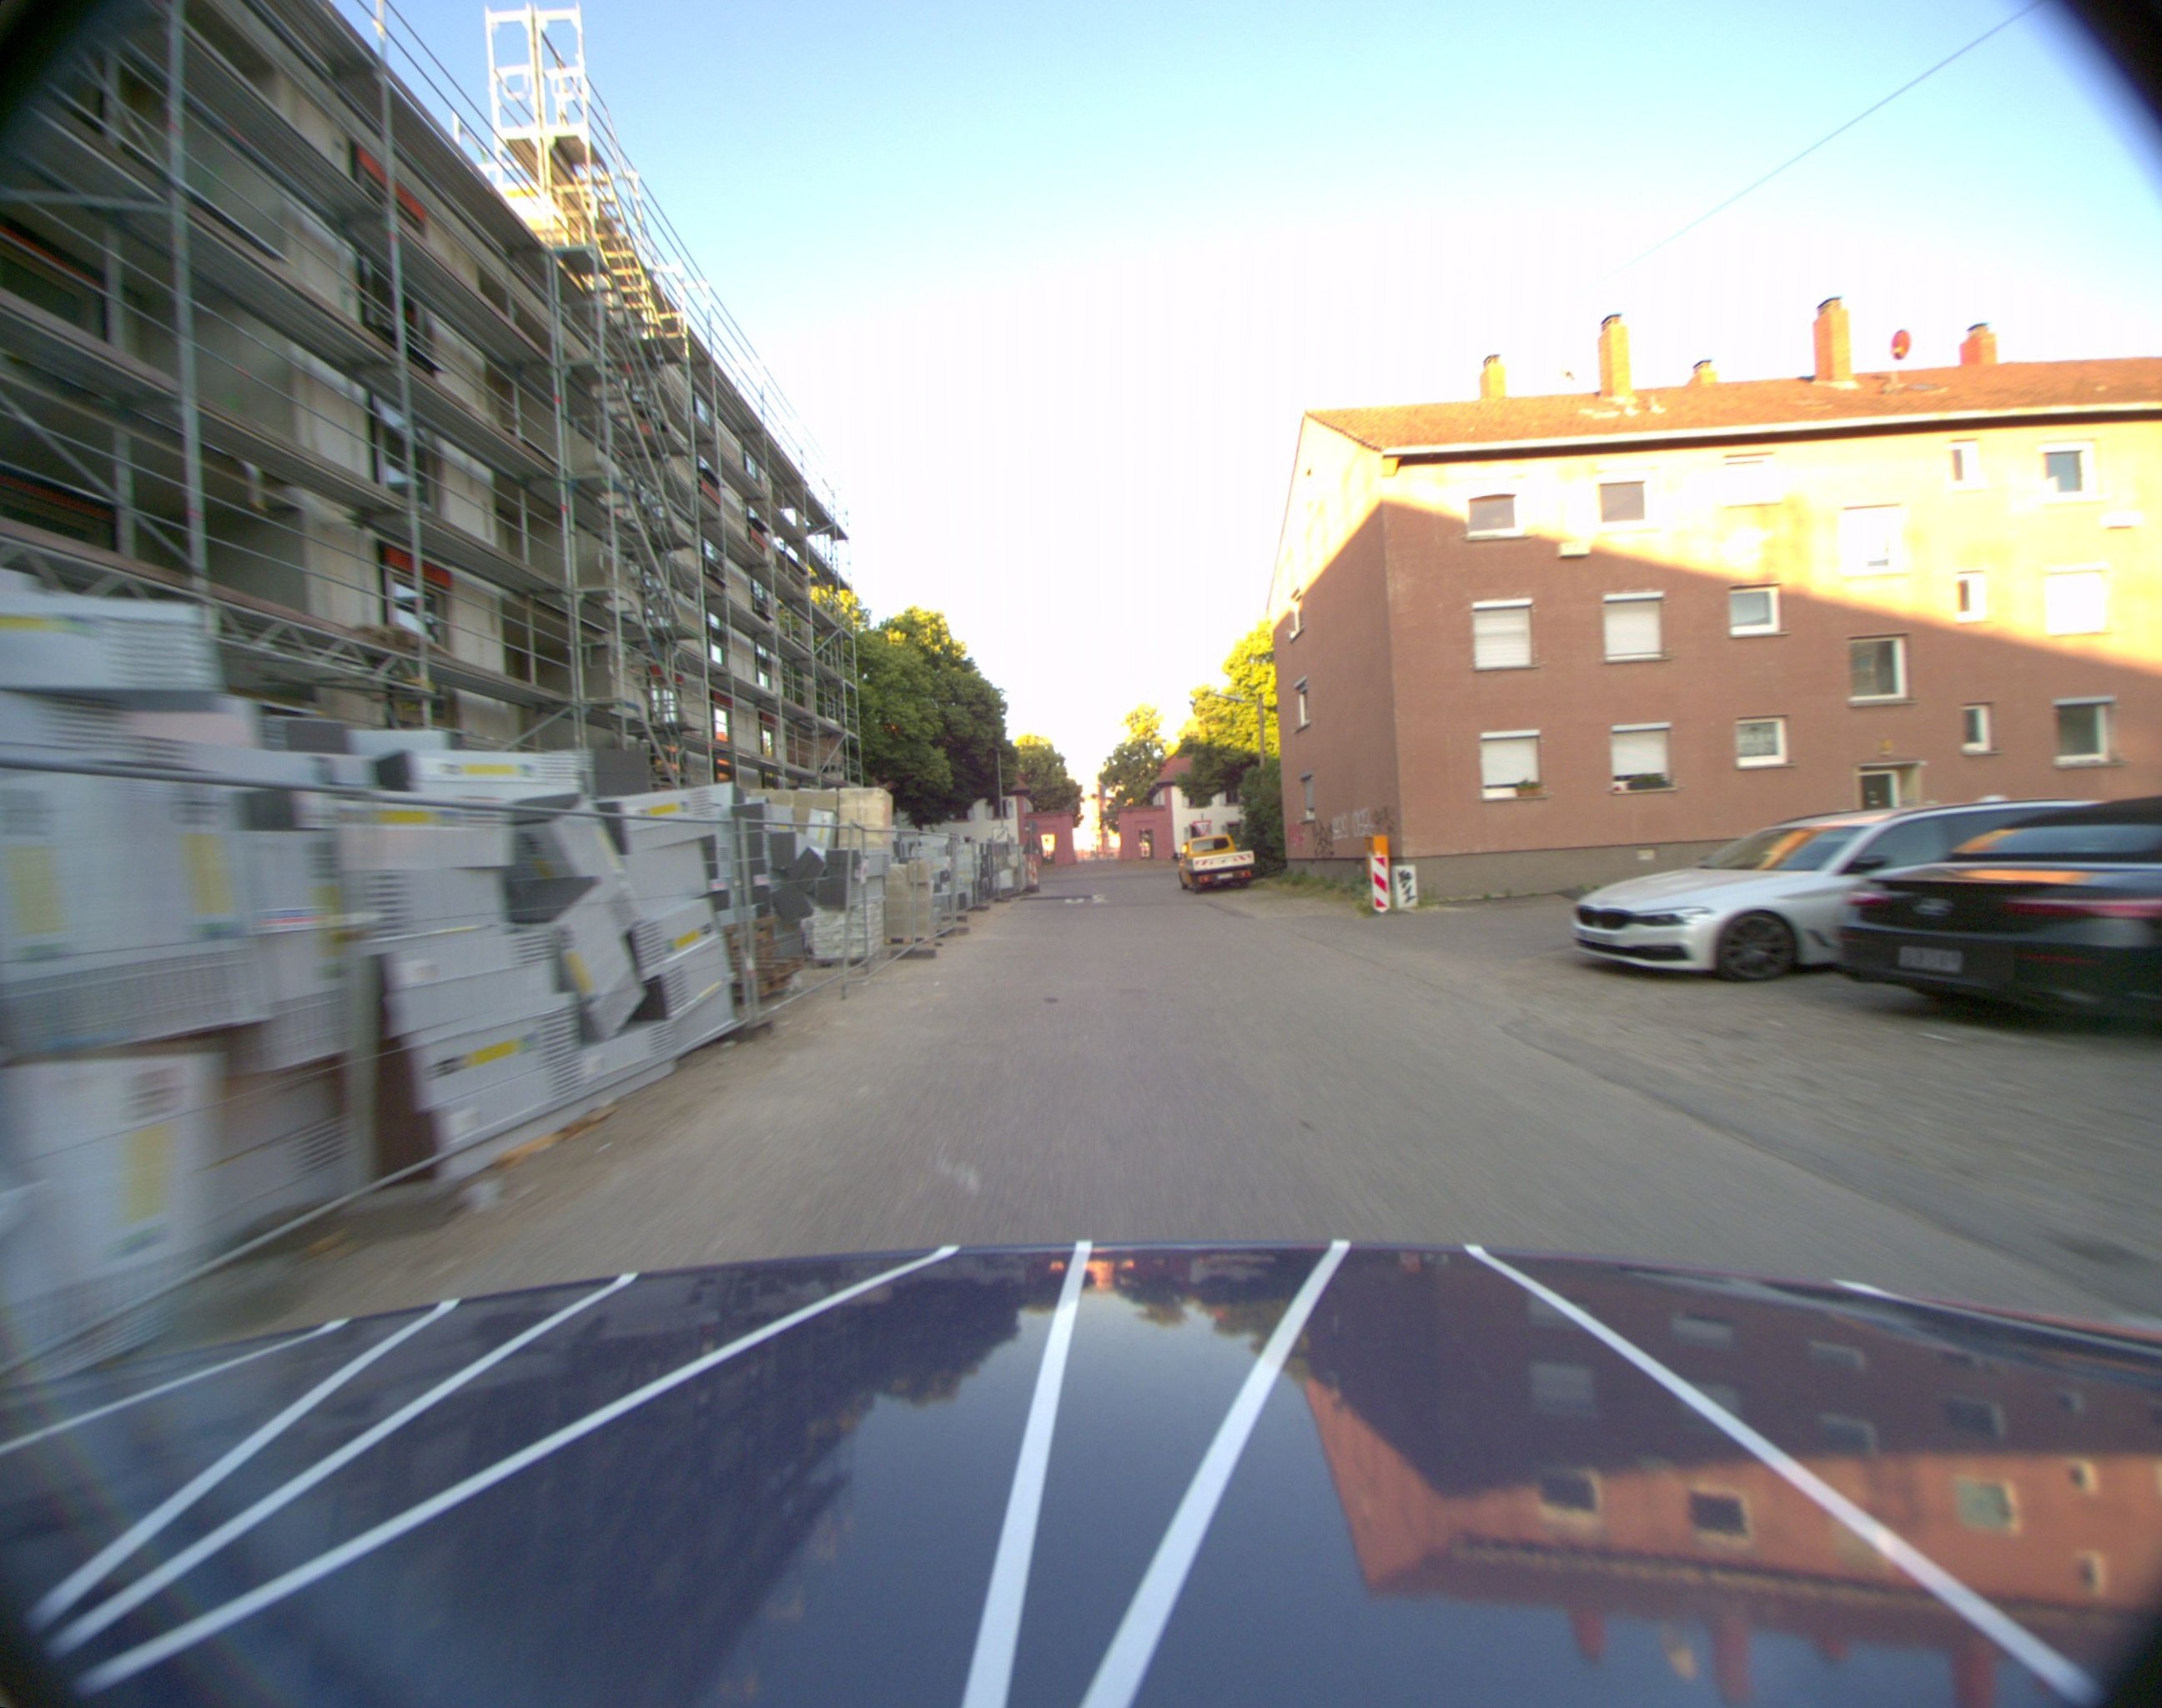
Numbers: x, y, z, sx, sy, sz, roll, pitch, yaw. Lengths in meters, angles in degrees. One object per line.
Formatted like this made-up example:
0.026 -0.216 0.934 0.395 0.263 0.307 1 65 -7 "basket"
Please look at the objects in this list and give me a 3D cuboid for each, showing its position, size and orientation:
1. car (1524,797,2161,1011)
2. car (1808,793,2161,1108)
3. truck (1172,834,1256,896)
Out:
7.667 0.417 7.775 5.007 1.535 2.115 -4 0 -2 "car"
7.588 0.353 4.768 4.428 1.535 1.727 -4 1 -2 "car"
4.732 0.338 27.860 2.039 1.902 5.660 -4 1 1 "truck"
